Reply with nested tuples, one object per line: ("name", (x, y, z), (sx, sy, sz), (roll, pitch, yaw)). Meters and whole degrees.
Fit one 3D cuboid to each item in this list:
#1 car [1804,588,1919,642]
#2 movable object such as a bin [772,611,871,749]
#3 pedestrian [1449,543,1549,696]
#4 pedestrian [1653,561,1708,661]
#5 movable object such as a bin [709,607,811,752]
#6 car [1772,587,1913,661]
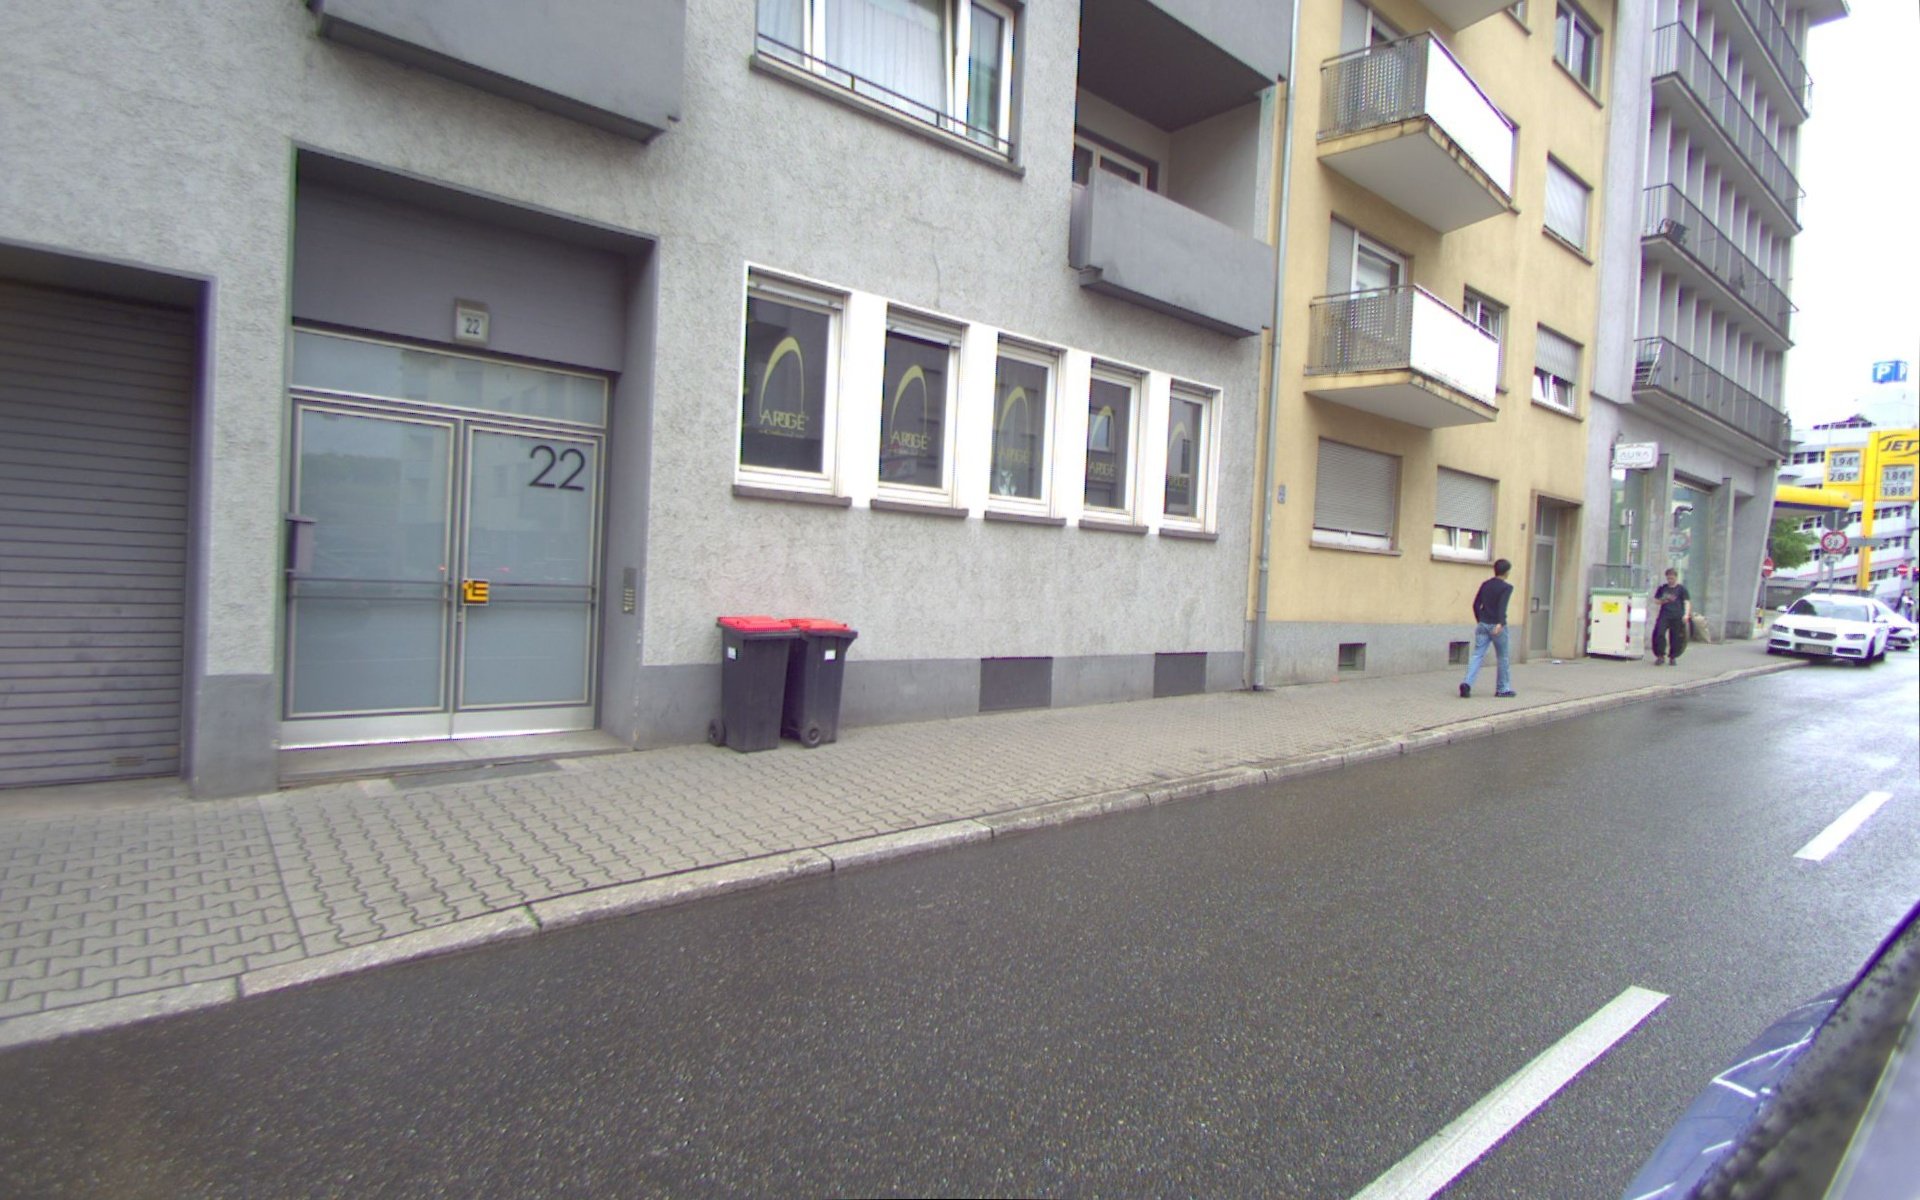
("car", (26.995, 0.418, 30.028), (1.750, 1.492, 3.973), (0, 0, 20))
("movable object such as a bin", (-1.071, 0.590, 7.793), (0.506, 0.961, 0.541), (0, 5, -40))
("pedestrian", (6.734, 0.223, 12.636), (1.038, 1.799, 0.644), (0, 5, -41))
("pedestrian", (13.373, 0.192, 18.775), (0.677, 1.777, 0.875), (4, 3, 41))
("movable object such as a bin", (-1.475, 0.562, 7.454), (0.506, 0.967, 0.541), (0, 5, -40))
("car", (20.118, 0.481, 23.016), (4.093, 1.453, 1.803), (0, 4, -41))
